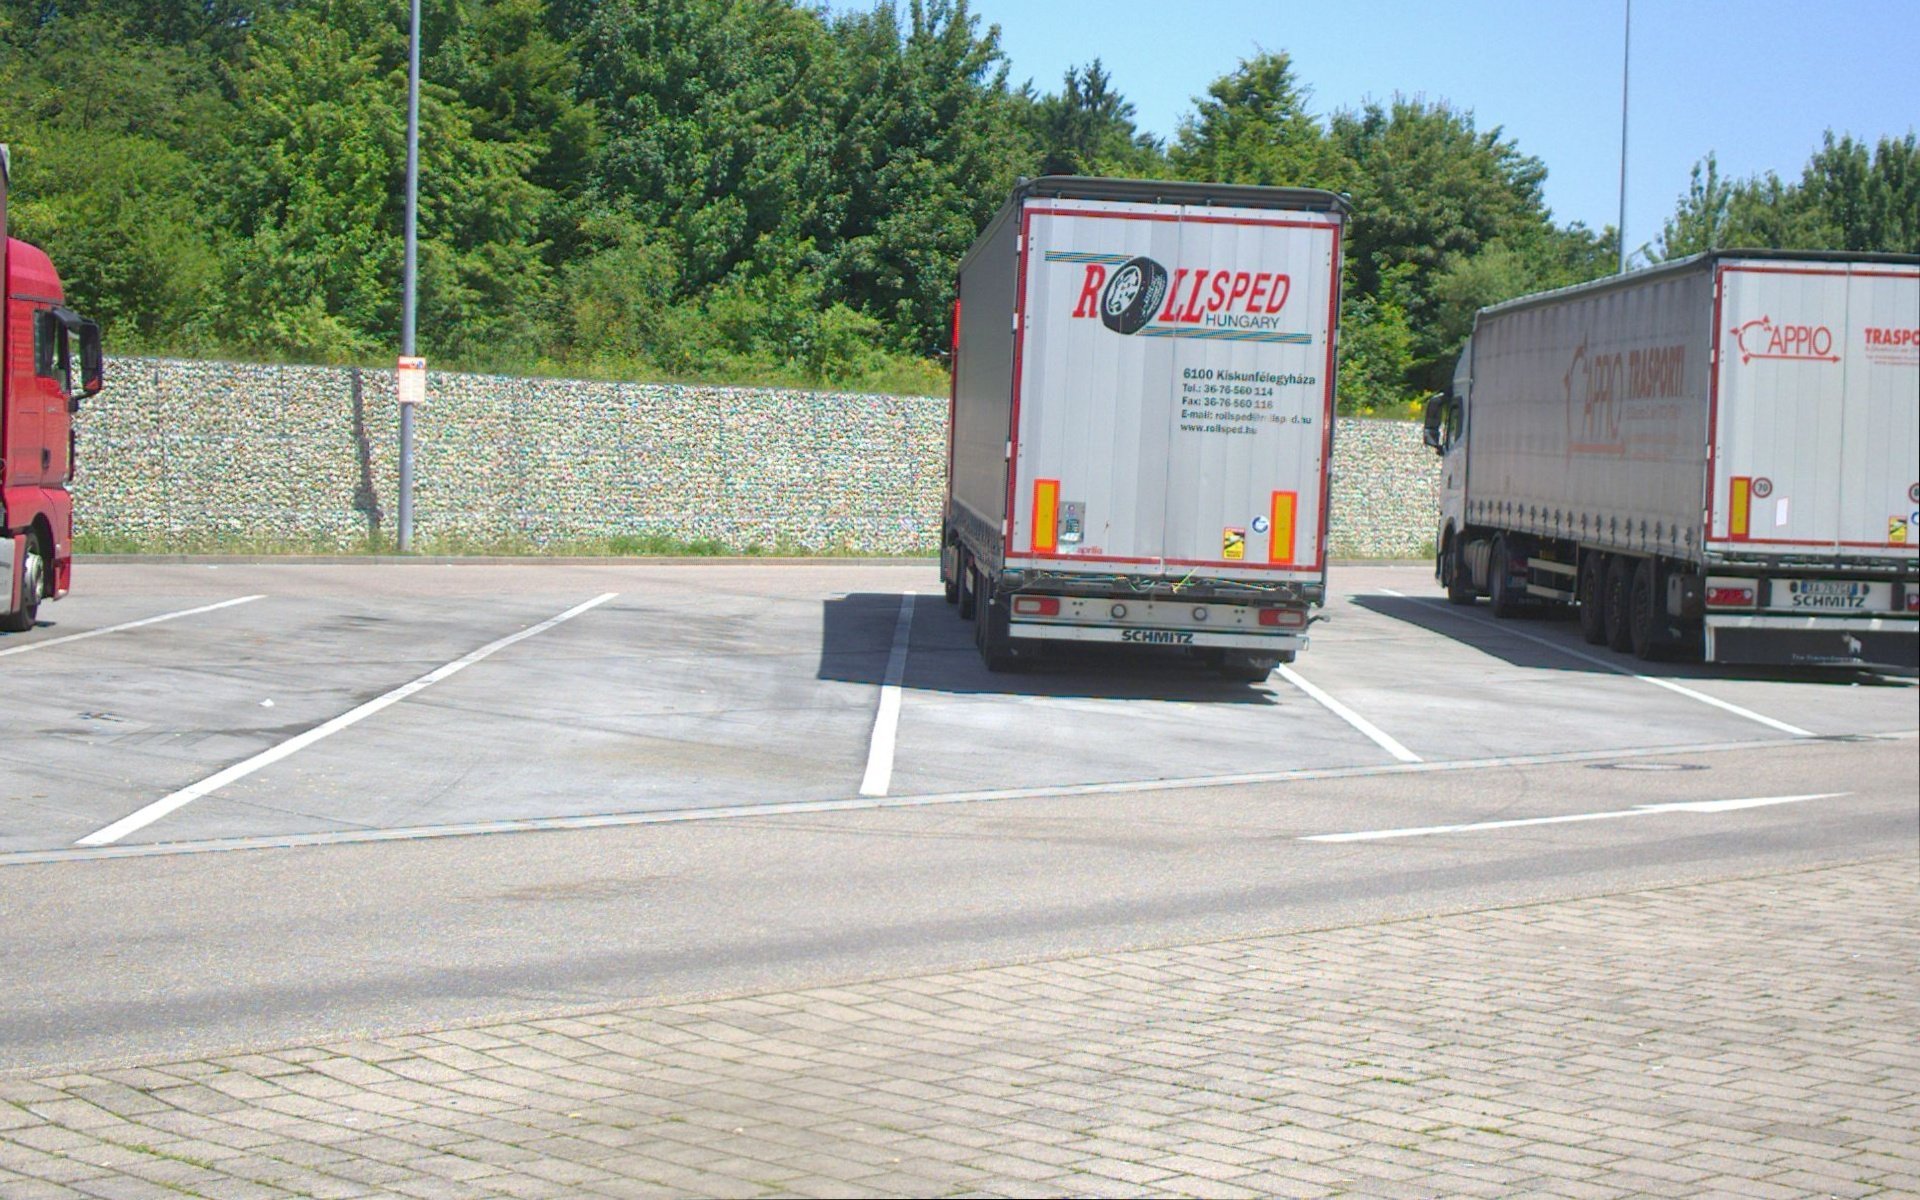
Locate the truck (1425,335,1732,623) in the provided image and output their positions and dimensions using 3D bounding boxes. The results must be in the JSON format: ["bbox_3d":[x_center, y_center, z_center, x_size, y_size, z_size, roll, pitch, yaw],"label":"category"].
[{"bbox_3d":[8.065,-1.626,45.514,2.852,3.472,5.483,2,2,-1],"label":"truck"}]

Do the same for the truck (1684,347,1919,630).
[{"bbox_3d":[11.754,-1.494,45.769,2.852,3.472,5.483,2,2,-1],"label":"truck"}]

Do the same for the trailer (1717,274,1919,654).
[{"bbox_3d":[11.796,-1.529,39.454,2.838,4.118,13.724,2,3,-1],"label":"trailer"}]

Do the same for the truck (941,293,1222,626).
[{"bbox_3d":[1.294,-1.632,39.823,2.852,3.472,5.483,2,2,-1],"label":"truck"}]

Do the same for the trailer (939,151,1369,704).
[{"bbox_3d":[1.443,-1.625,33.210,2.906,4.118,13.725,2,3,-1],"label":"trailer"}]

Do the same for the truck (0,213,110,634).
[{"bbox_3d":[-9.233,-1.511,28.752,2.852,3.416,5.483,2,2,-1],"label":"truck"}]

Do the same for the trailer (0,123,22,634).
[{"bbox_3d":[-9.142,-1.495,21.313,2.906,4.118,13.725,2,3,-1],"label":"trailer"}]

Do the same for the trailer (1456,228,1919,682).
[{"bbox_3d":[8.159,-1.628,38.701,2.838,4.118,13.724,2,3,-1],"label":"trailer"}]
